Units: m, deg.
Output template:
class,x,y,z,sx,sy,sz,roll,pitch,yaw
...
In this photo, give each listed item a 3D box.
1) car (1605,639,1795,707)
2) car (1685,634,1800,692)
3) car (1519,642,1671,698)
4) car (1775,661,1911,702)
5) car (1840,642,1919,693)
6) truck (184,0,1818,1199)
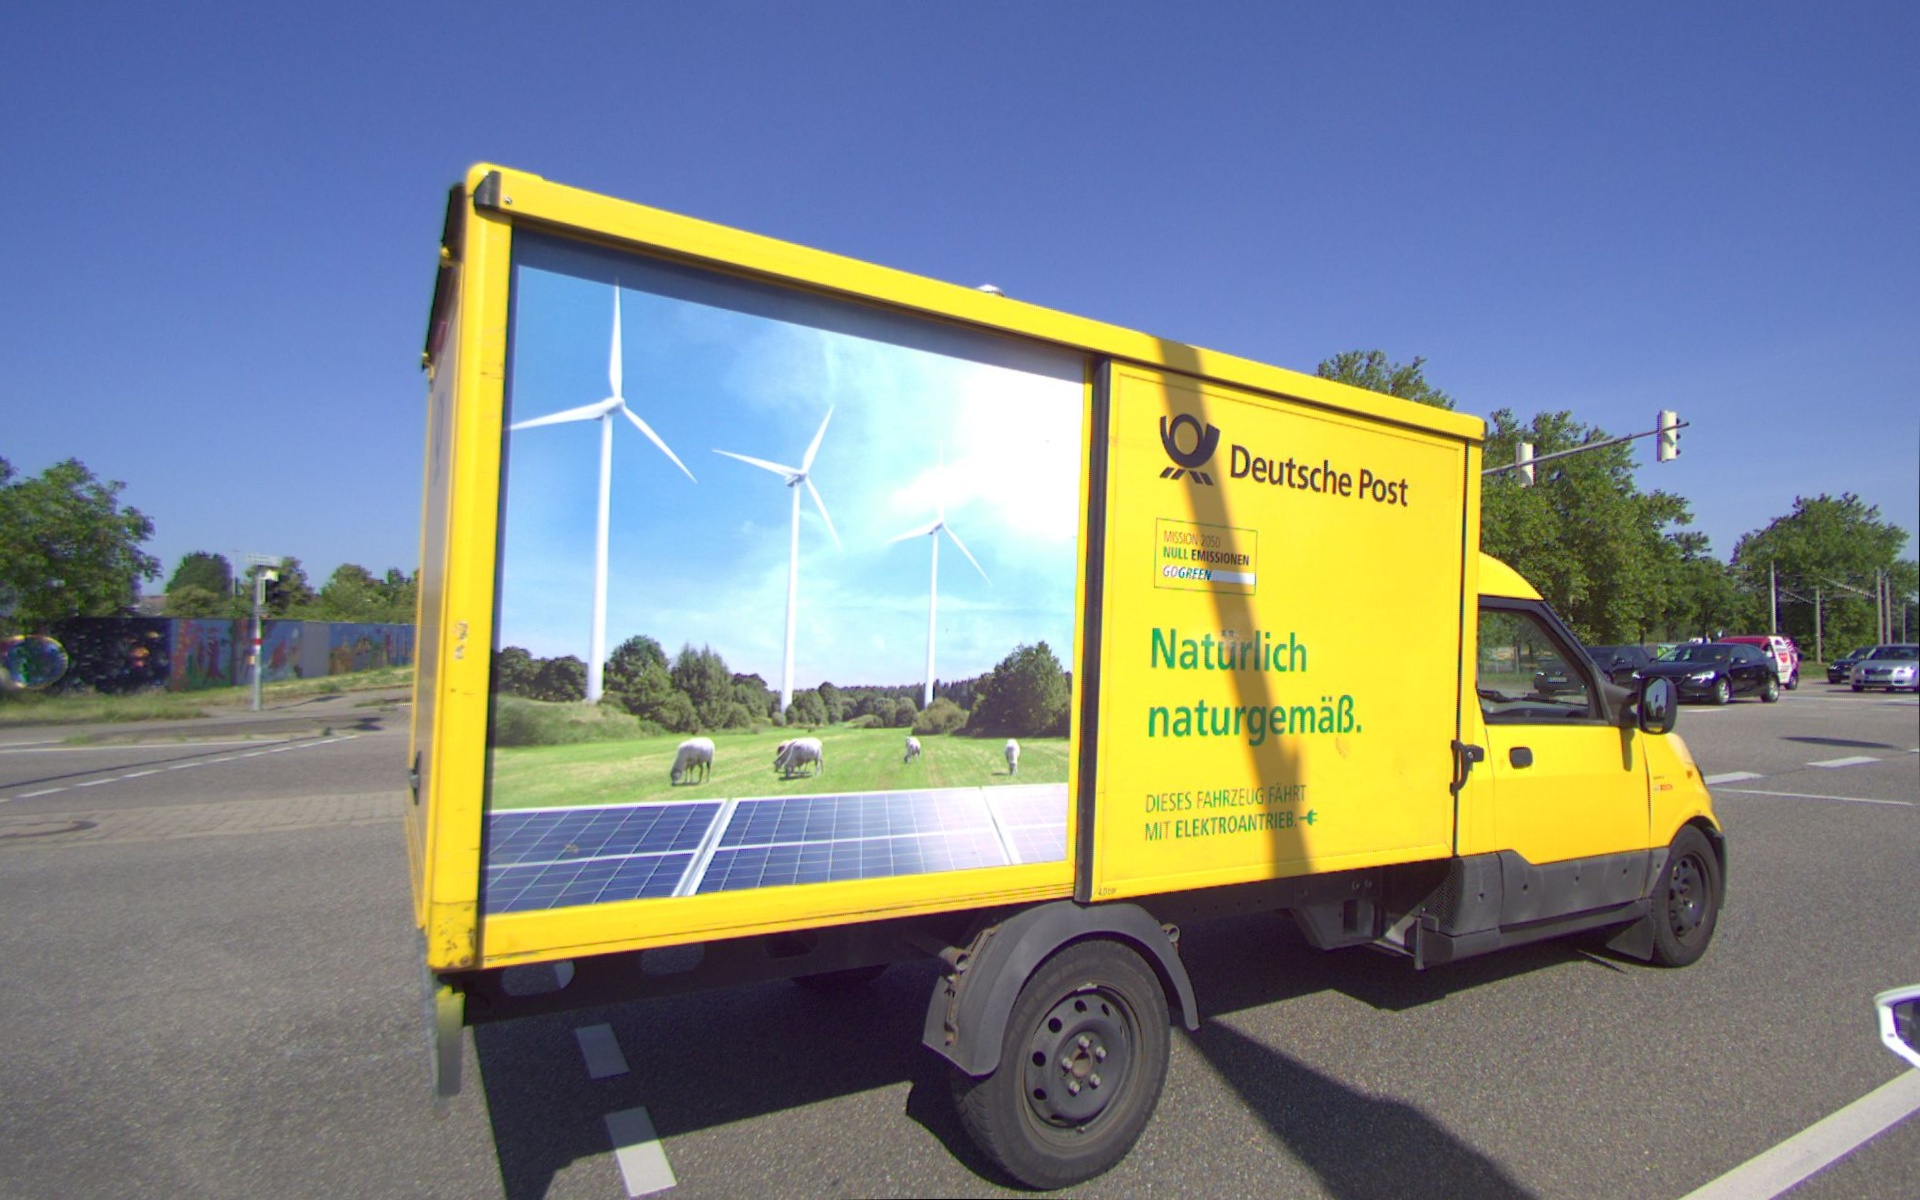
class,x,y,z,sx,sy,sz,roll,pitch,yaw
car,17.593,1.674,23.856,4.278,1.476,1.974,2,-2,-28
car,25.558,2.027,32.772,4.185,1.793,1.694,2,-3,-34
car,18.341,1.980,28.985,4.176,1.476,1.878,2,-2,-28
car,34.698,3.152,39.436,5.541,1.493,1.988,2,-2,-25
car,28.632,2.020,30.636,3.827,1.476,1.611,2,-2,-31
truck,0.830,0.349,3.938,5.848,2.490,2.101,2,-1,-31
